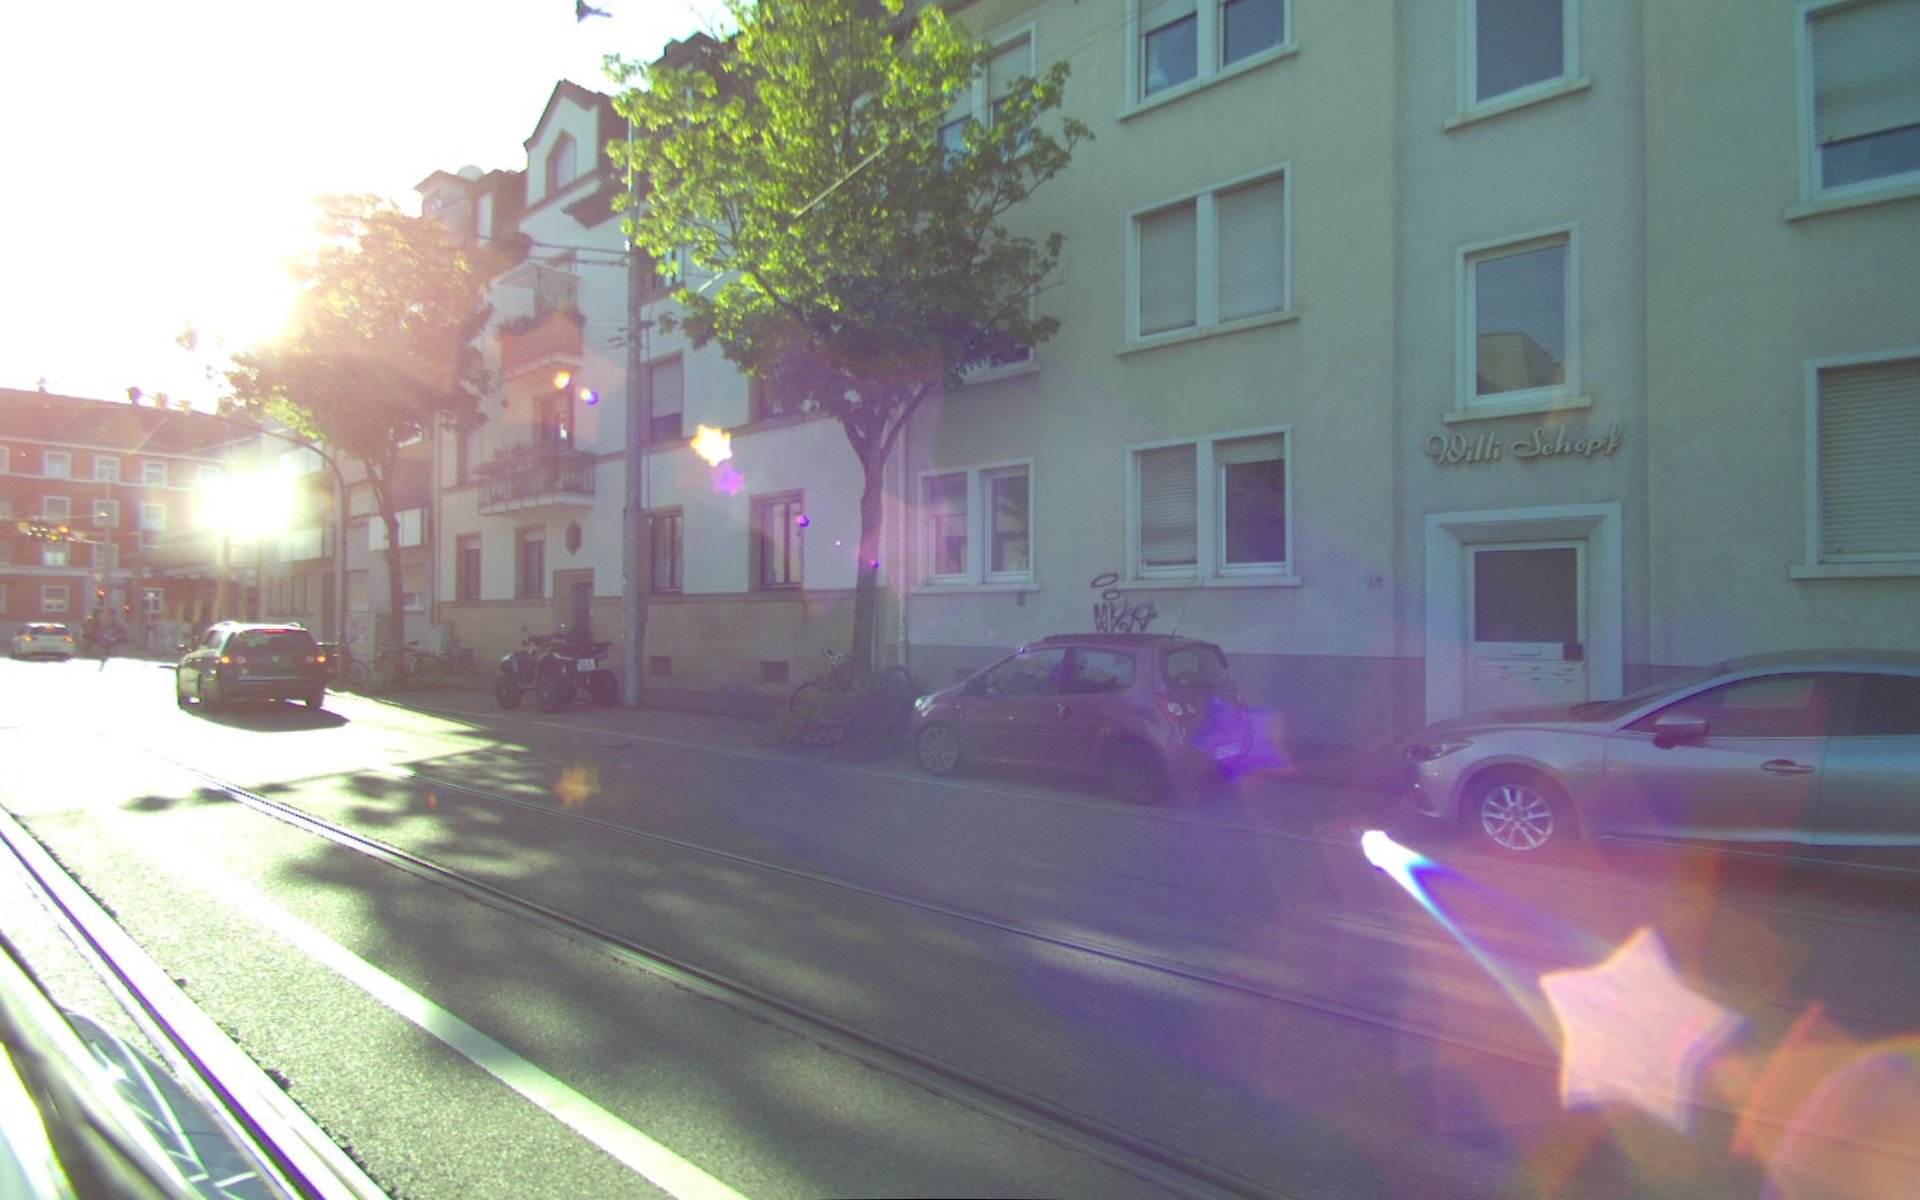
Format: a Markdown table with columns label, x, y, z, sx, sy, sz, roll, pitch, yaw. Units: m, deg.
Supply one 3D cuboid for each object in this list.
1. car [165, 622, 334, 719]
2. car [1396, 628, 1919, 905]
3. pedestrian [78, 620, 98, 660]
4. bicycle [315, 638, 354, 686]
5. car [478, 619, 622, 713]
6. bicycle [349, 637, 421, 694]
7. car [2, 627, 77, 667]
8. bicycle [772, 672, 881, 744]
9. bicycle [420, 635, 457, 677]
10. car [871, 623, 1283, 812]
| label | x | y | z | sx | sy | sz | roll | pitch | yaw |
| --- | --- | --- | --- | --- | --- | --- | --- | --- | --- |
| car | -12.742 | 1.154 | 18.019 | 1.745 | 1.474 | 4.751 | 3 | -2 | -43 |
| car | 5.376 | 0.944 | 6.618 | 4.291 | 1.440 | 1.854 | -1 | -1 | 41 |
| pedestrian | -39.552 | 1.809 | 45.909 | 0.583 | 1.787 | 0.631 | -1 | -1 | 41 |
| bicycle | -14.671 | 1.437 | 23.723 | 1.661 | 1.050 | 0.299 | -1 | -1 | 42 |
| car | -7.272 | 1.164 | 17.896 | 2.546 | 1.514 | 1.341 | -4 | -3 | 41 |
| bicycle | -12.798 | 1.442 | 22.545 | 0.409 | 1.178 | 1.326 | -1 | -1 | 41 |
| car | -38.309 | 1.907 | 42.107 | 3.998 | 1.536 | 1.898 | -1 | -1 | 41 |
| bicycle | -1.771 | 1.432 | 13.672 | 0.276 | 0.808 | 1.769 | -1 | -1 | 39 |
| bicycle | -13.795 | 1.461 | 26.741 | 1.661 | 1.050 | 0.299 | -1 | -1 | 42 |
| car | 1.035 | 1.014 | 10.283 | 3.998 | 1.516 | 1.555 | -1 | -1 | 42 |
